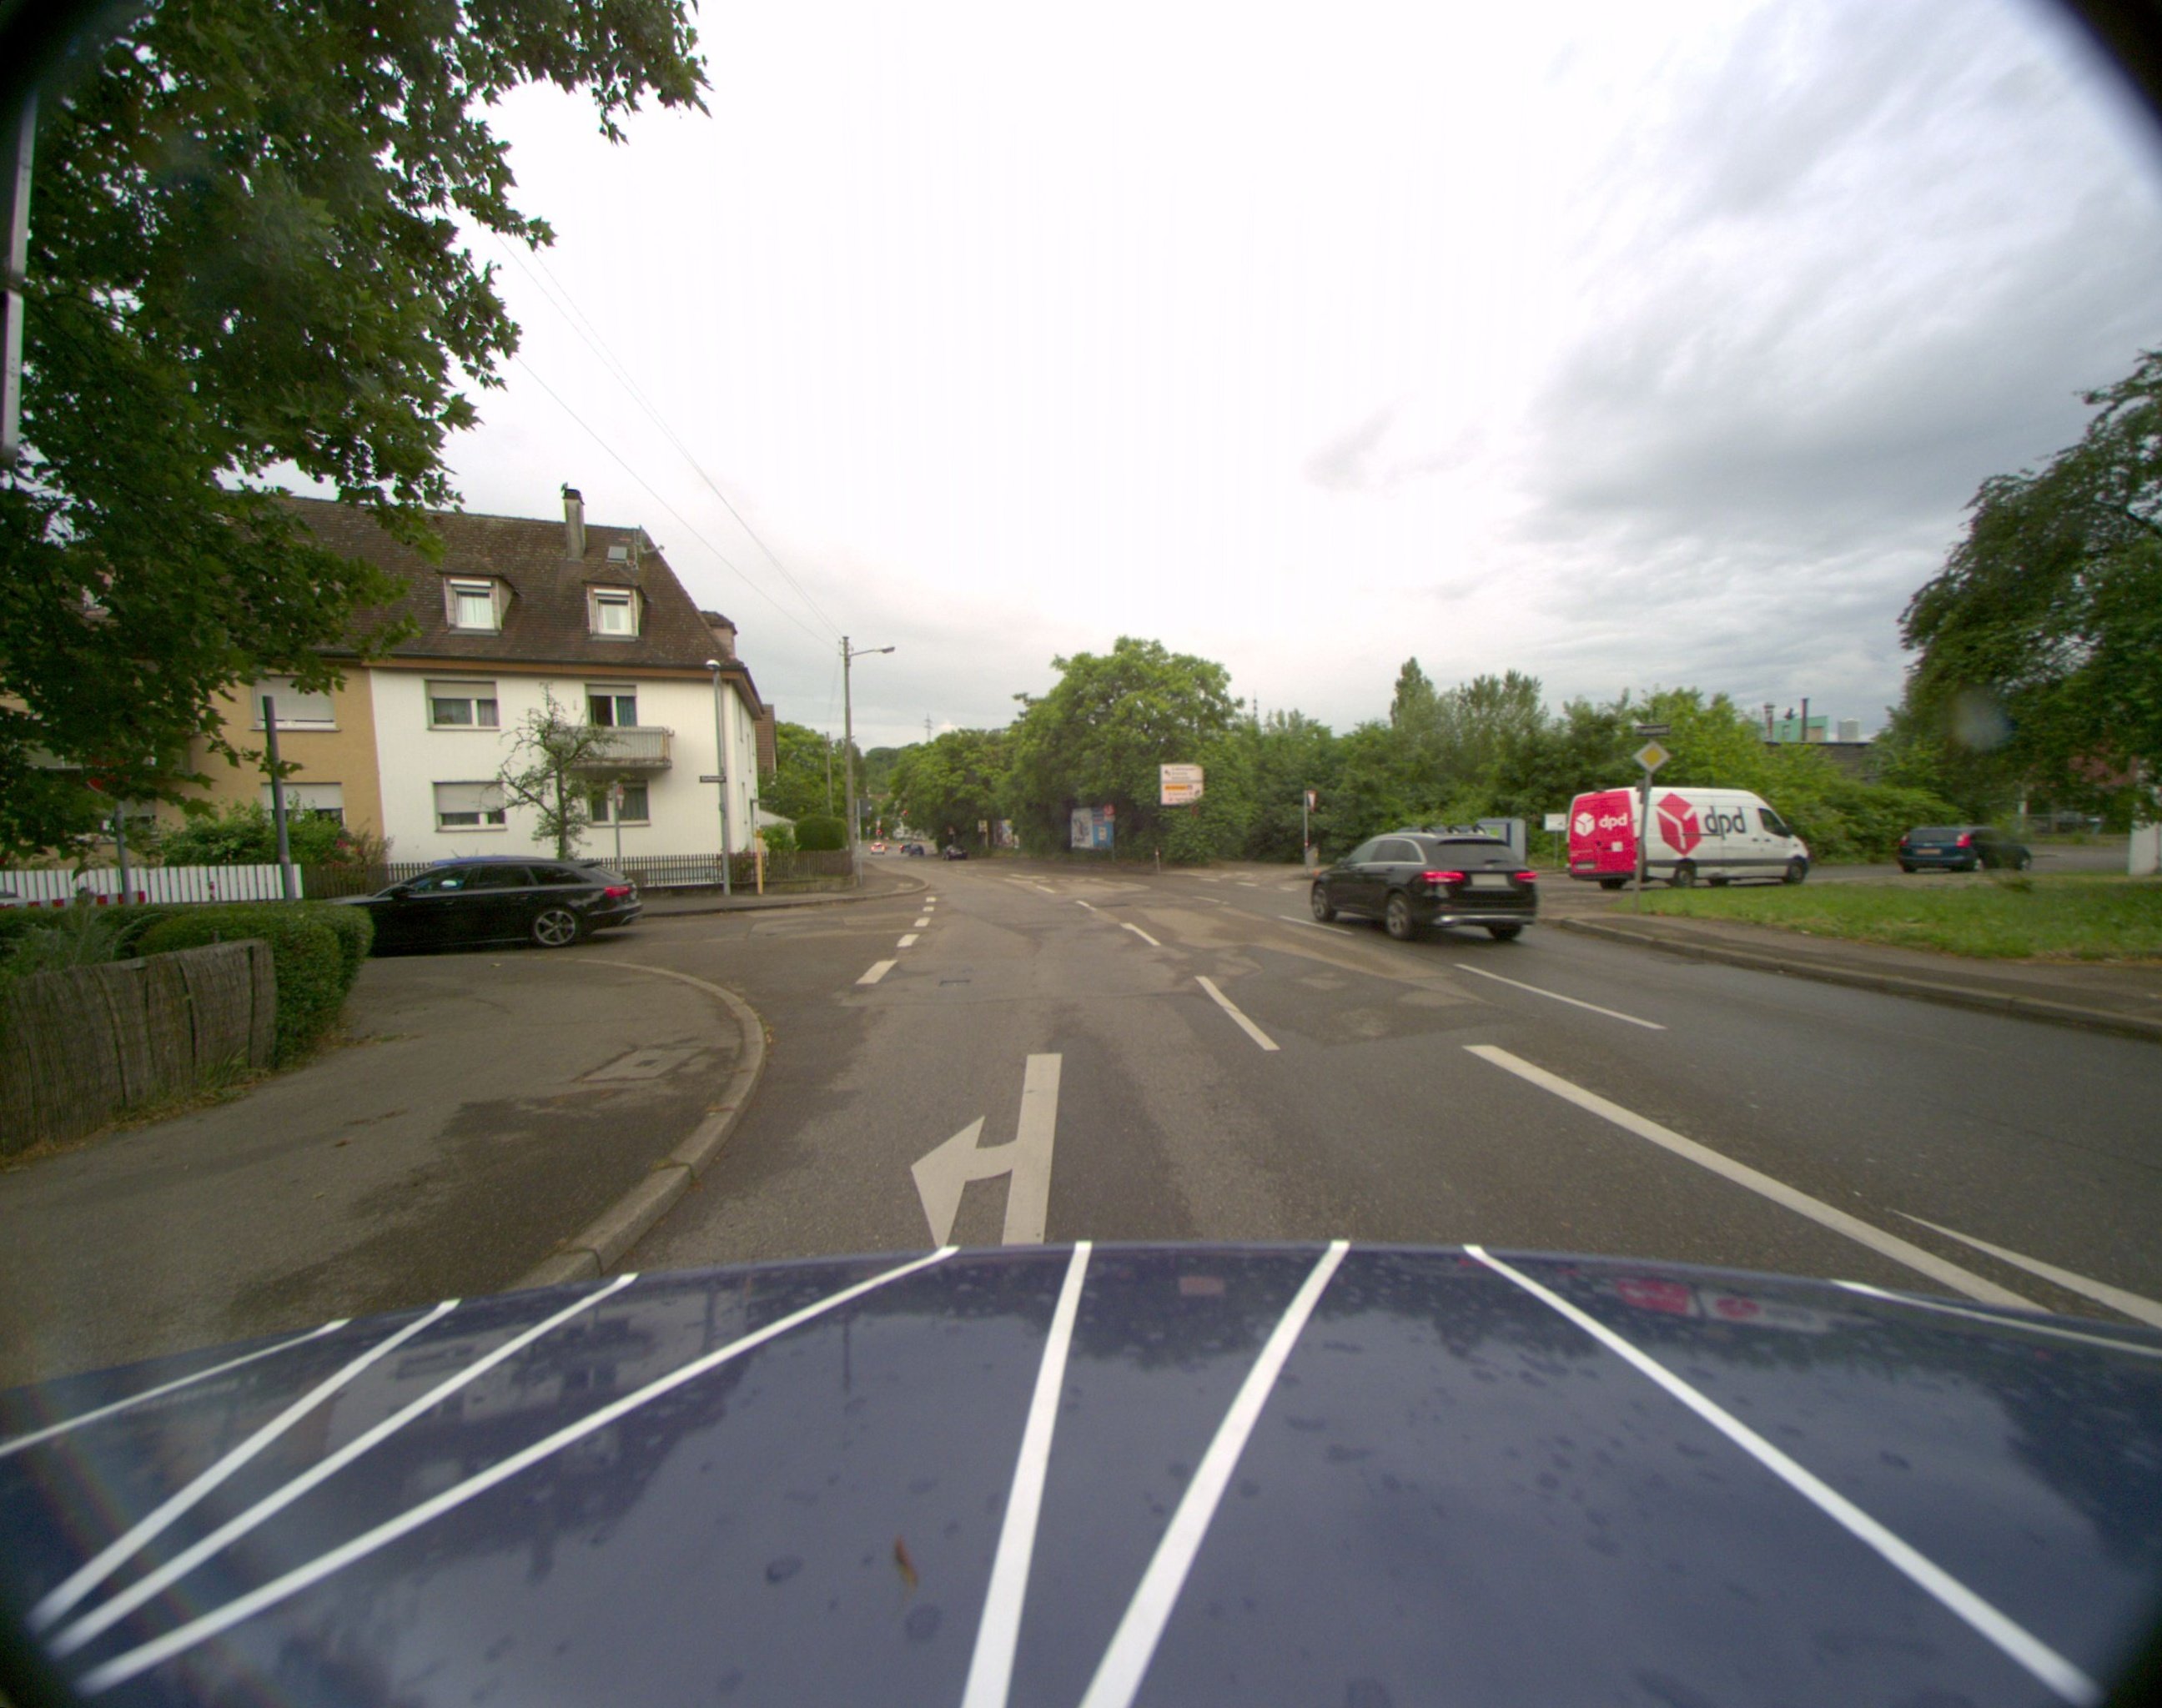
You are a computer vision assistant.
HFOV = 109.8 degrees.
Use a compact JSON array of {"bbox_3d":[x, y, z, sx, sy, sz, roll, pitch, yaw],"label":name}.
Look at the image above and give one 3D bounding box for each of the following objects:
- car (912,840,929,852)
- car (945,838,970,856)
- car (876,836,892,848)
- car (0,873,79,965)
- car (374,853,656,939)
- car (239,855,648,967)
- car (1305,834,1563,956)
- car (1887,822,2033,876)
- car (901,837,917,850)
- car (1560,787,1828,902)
[{"bbox_3d":[-19.983,-1.003,94.372,1.604,1.418,3.689,-1,3,-20],"label":"car"},{"bbox_3d":[-11.423,-0.666,70.182,1.849,1.560,4.406,-2,1,-15],"label":"car"},{"bbox_3d":[-28.532,-1.707,109.875,1.838,1.570,4.326,-3,2,-18],"label":"car"},{"bbox_3d":[-19.484,1.124,12.143,3.788,1.445,1.769,-2,1,-20],"label":"car"},{"bbox_3d":[-11.135,0.763,15.338,4.130,1.472,1.883,-1,1,-17],"label":"car"},{"bbox_3d":[-10.068,0.815,12.599,4.824,1.472,1.882,-1,1,-24],"label":"car"},{"bbox_3d":[5.508,0.532,12.614,1.920,1.617,4.432,-2,1,-5],"label":"car"},{"bbox_3d":[30.129,-0.213,26.063,4.257,1.620,1.996,-3,2,-22],"label":"car"},{"bbox_3d":[-26.636,-1.630,117.550,1.965,1.920,4.675,-2,1,-17],"label":"car"},{"bbox_3d":[16.152,-0.353,20.018,6.829,2.641,2.258,-2,2,-20],"label":"car"}]
